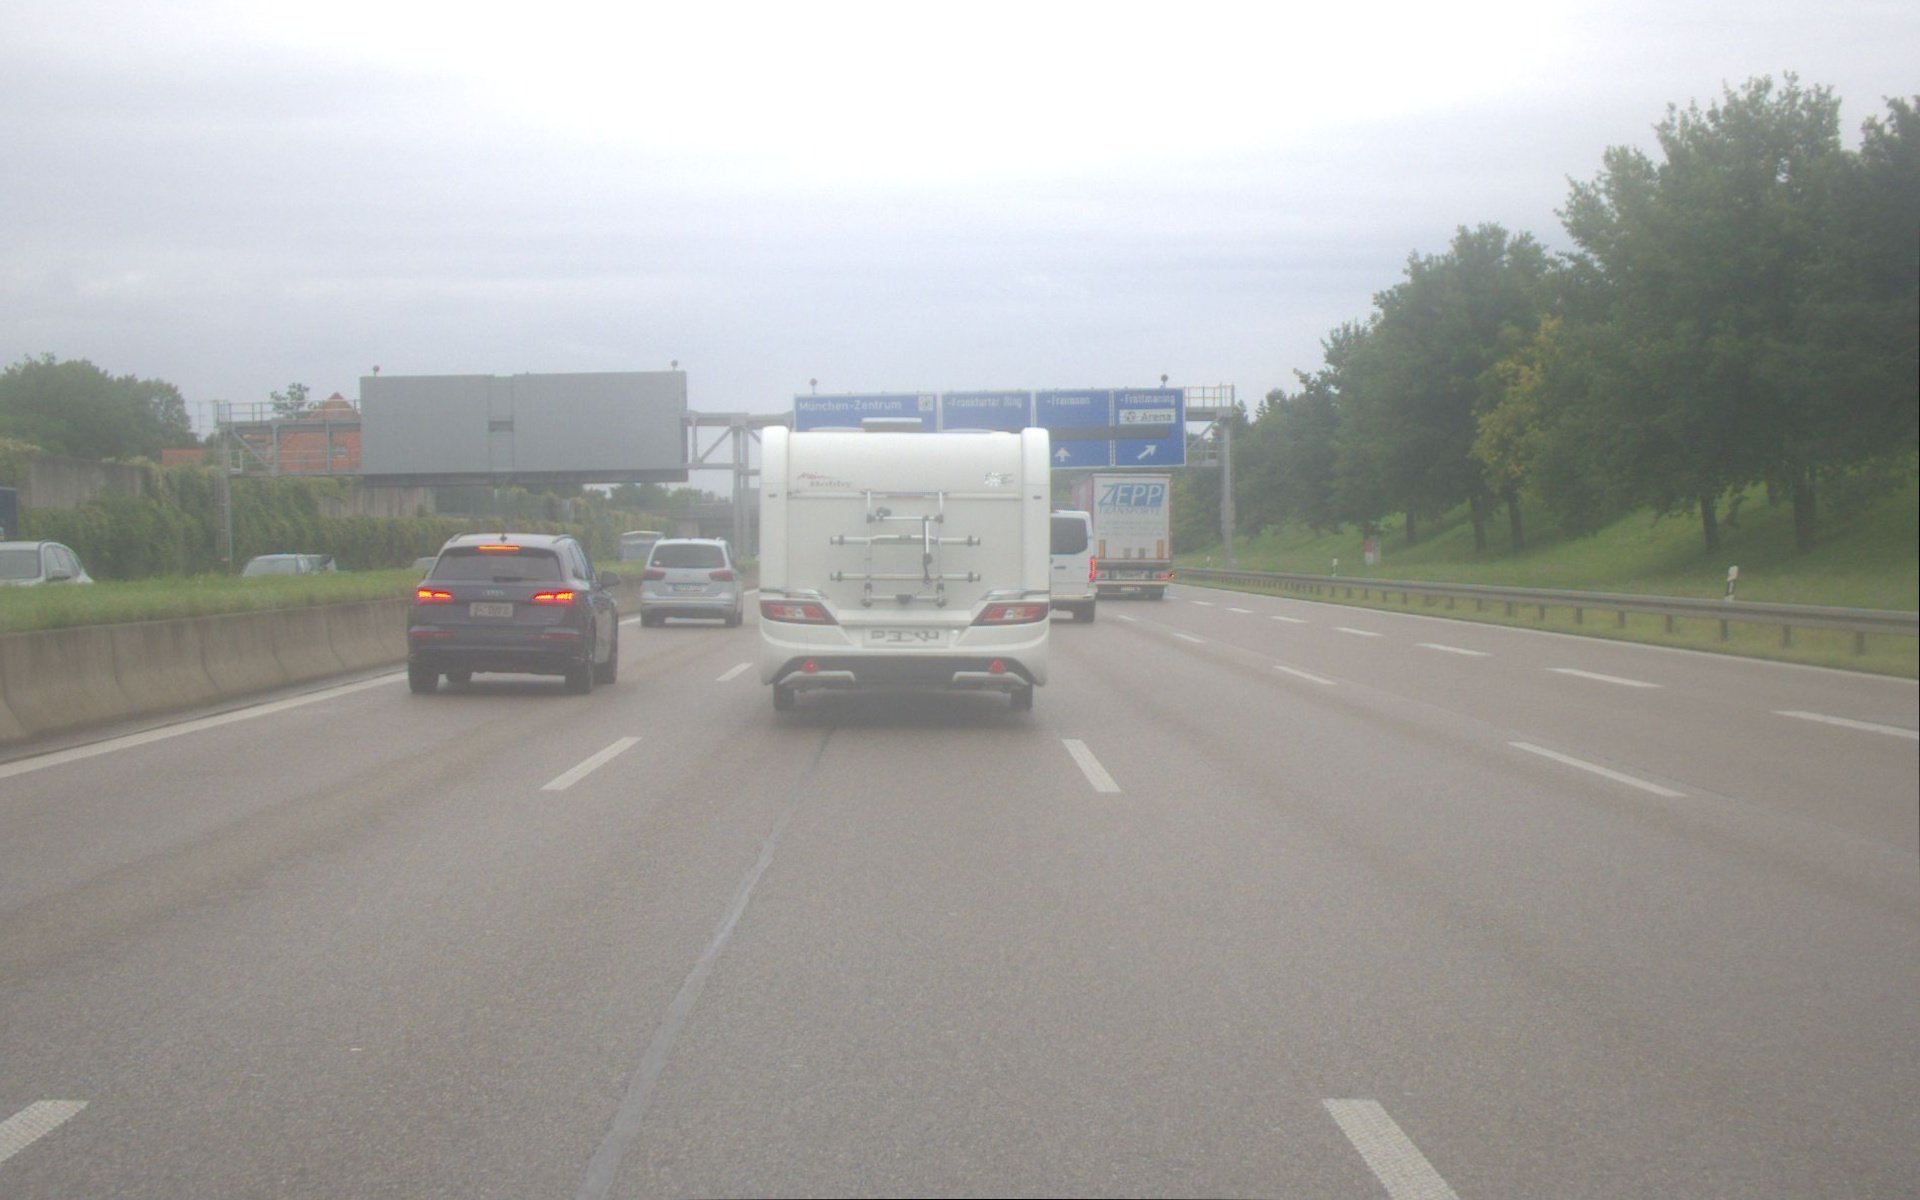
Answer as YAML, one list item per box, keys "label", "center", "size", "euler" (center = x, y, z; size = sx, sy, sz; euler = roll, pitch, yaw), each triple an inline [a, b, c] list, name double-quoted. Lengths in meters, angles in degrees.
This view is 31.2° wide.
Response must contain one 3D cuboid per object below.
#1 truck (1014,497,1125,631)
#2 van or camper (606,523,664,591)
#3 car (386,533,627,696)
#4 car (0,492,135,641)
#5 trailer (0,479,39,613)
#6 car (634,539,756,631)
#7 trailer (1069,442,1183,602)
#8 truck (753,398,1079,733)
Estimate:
- label: "truck"
  center: [2.325, -0.774, 74.479]
  size: [2.053, 2.760, 5.549]
  euler: [1, 1, -1]
- label: "van or camper"
  center: [-19.286, -2.541, 204.604]
  size: [2.708, 3.935, 8.402]
  euler: [1, 1, -1]
- label: "car"
  center: [-4.761, 0.113, 36.787]
  size: [1.993, 1.594, 5.124]
  euler: [1, 1, -1]
- label: "car"
  center: [-13.170, -0.496, 48.507]
  size: [2.120, 2.007, 4.520]
  euler: [0, 1, -2]
- label: "trailer"
  center: [-24.694, -1.328, 82.424]
  size: [2.306, 3.278, 10.563]
  euler: [1, 1, 0]
- label: "car"
  center: [-5.118, -0.306, 66.884]
  size: [2.127, 1.700, 4.113]
  euler: [1, 1, -1]
- label: "trailer"
  center: [5.340, -2.489, 112.466]
  size: [3.100, 4.905, 11.790]
  euler: [1, 1, 0]
- label: "truck"
  center: [-0.419, -0.314, 31.011]
  size: [2.661, 2.733, 5.078]
  euler: [1, 1, -1]
